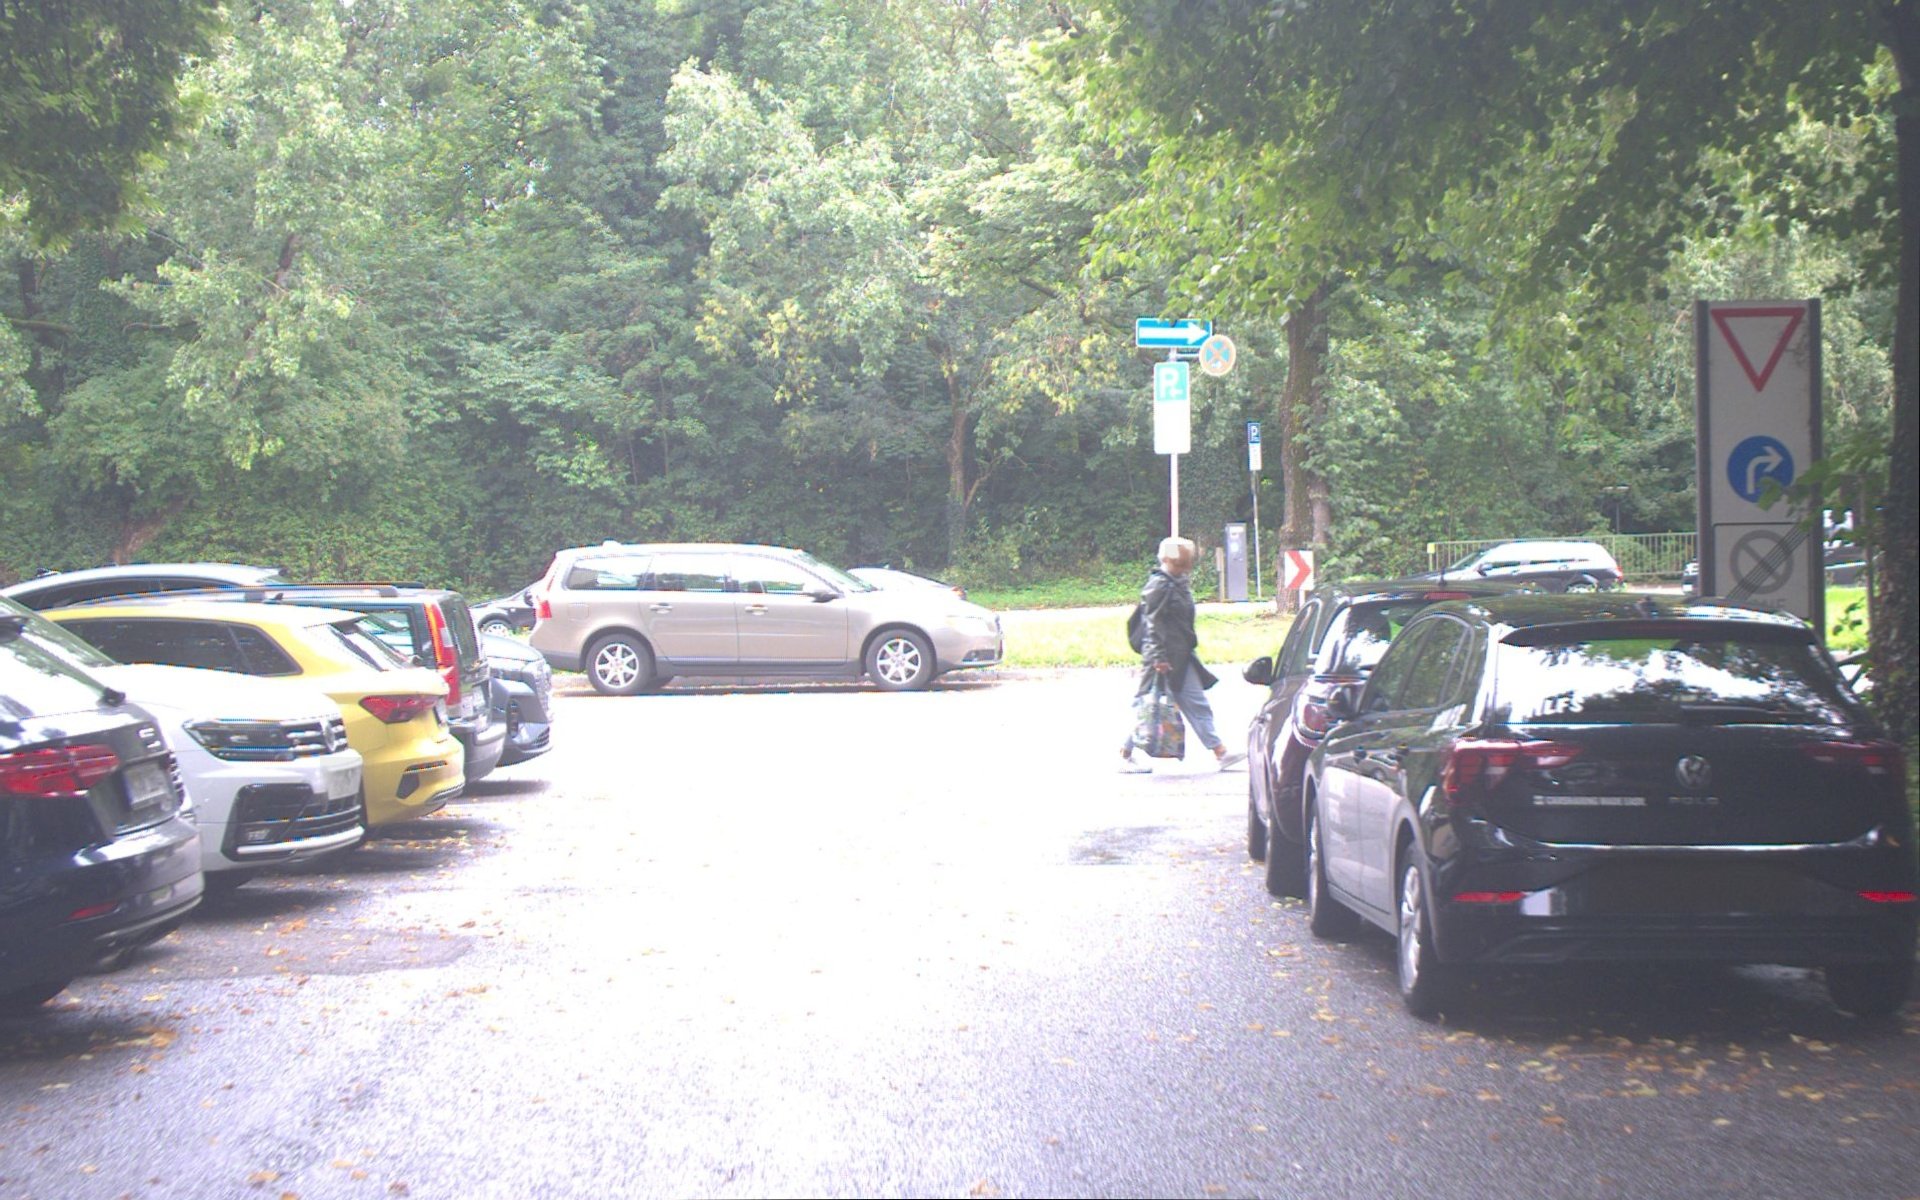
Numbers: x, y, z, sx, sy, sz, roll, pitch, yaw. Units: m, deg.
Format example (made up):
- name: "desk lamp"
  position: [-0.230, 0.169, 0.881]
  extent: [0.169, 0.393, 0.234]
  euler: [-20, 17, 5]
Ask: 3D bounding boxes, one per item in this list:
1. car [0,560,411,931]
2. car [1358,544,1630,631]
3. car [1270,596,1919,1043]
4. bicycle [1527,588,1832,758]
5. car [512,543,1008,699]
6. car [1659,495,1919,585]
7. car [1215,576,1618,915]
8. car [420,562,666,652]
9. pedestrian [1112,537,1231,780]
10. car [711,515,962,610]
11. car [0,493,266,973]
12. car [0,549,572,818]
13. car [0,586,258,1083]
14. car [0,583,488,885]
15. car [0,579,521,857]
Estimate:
- name: "car"
  position: [-4.970, 0.640, 15.972]
  extent: [4.449, 1.591, 1.835]
  euler: [-1, 1, 5]
- name: "car"
  position: [9.865, -0.243, 63.697]
  extent: [4.580, 1.467, 1.932]
  euler: [-2, 1, -8]
- name: "car"
  position: [2.233, 0.698, 12.990]
  extent: [1.681, 1.353, 4.009]
  euler: [0, 1, -1]
- name: "bicycle"
  position: [4.304, 0.439, 20.616]
  extent: [1.753, 0.978, 0.273]
  euler: [-1, 1, 9]
- name: "car"
  position: [-1.981, 0.196, 34.915]
  extent: [4.802, 1.490, 1.842]
  euler: [-1, 1, 5]
- name: "car"
  position: [15.830, -1.127, 64.229]
  extent: [5.028, 1.560, 2.000]
  euler: [-2, 1, -8]
- name: "car"
  position: [2.181, 0.643, 17.248]
  extent: [1.648, 1.469, 3.643]
  euler: [-1, 1, 2]
- name: "car"
  position: [-7.492, 0.114, 62.114]
  extent: [4.233, 1.489, 2.000]
  euler: [-1, 1, -2]
- name: "pedestrian"
  position: [1.447, 0.390, 23.602]
  extent: [0.779, 1.612, 0.761]
  euler: [-1, 3, 2]
- name: "car"
  position: [-2.242, -0.678, 62.196]
  extent: [4.434, 1.573, 1.932]
  euler: [-1, 1, -3]
- name: "car"
  position: [-5.110, 0.523, 13.469]
  extent: [4.313, 1.725, 1.848]
  euler: [-2, 1, 3]
- name: "car"
  position: [-4.831, 0.540, 23.312]
  extent: [4.162, 1.595, 1.736]
  euler: [-2, 3, -1]
- name: "car"
  position: [-4.427, 0.742, 10.962]
  extent: [3.987, 1.428, 1.736]
  euler: [-2, 1, -1]
- name: "car"
  position: [-4.566, 0.698, 18.239]
  extent: [3.879, 1.436, 1.741]
  euler: [-2, 1, -1]
- name: "car"
  position: [-4.739, 0.689, 20.499]
  extent: [3.987, 1.459, 1.736]
  euler: [-2, 2, -1]
